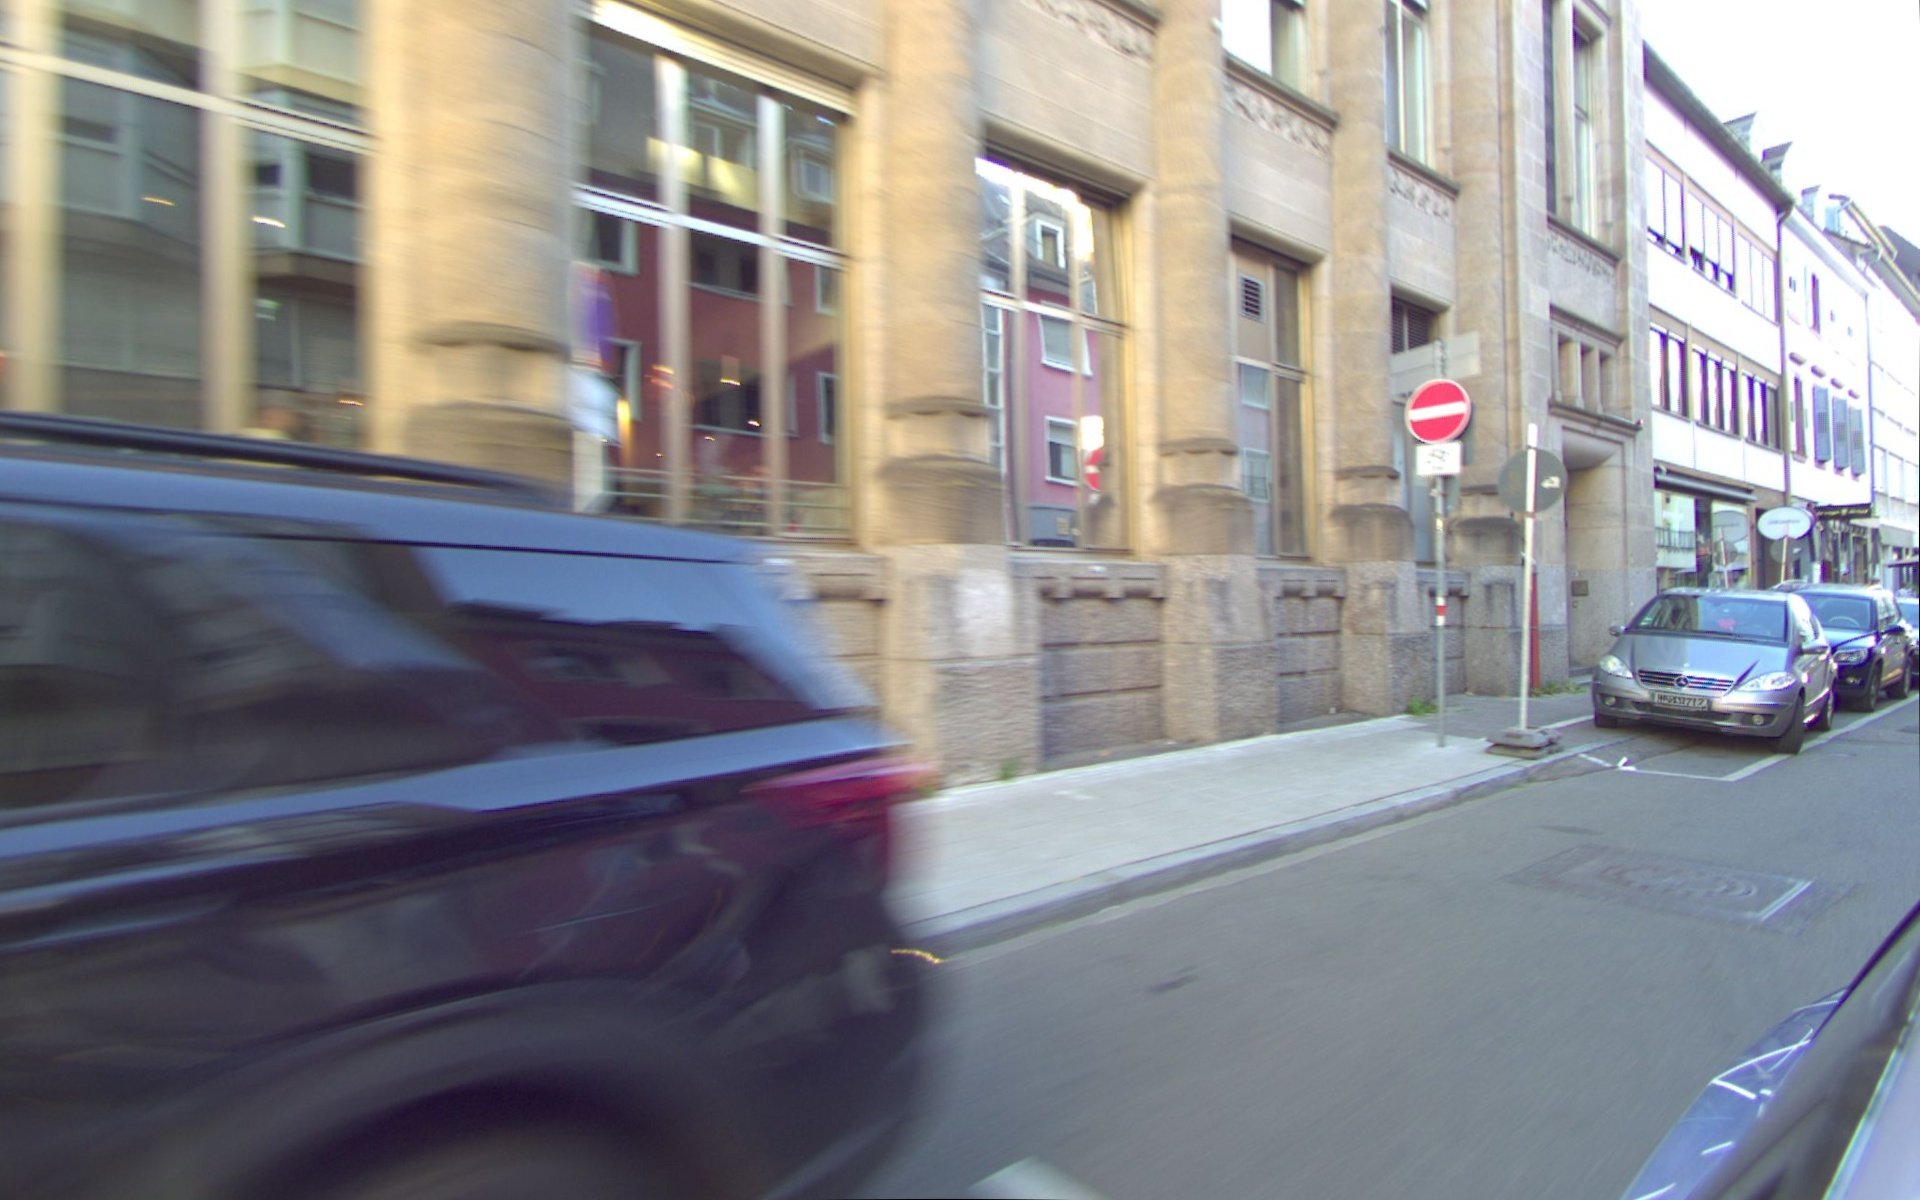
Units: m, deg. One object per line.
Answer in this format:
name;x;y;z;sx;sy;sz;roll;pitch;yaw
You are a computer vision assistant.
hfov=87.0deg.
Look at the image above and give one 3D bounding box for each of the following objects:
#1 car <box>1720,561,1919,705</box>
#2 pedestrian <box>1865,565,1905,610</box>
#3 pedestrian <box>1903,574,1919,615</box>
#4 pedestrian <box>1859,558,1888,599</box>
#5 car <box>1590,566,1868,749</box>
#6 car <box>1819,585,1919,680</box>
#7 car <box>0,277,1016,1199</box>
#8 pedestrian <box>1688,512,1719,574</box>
car;12.818;0.416;14.796;4.163;1.830;1.674;-1;-2;-39
pedestrian;26.240;-0.351;28.705;0.634;1.258;0.736;-1;0;-39
pedestrian;29.929;-0.192;31.472;0.634;1.259;0.736;-1;-1;-38
pedestrian;28.574;-0.672;31.645;0.599;1.258;0.566;-1;0;-40
car;8.682;0.512;11.311;3.932;1.687;1.775;-1;0;-42
car;17.075;0.500;18.147;4.902;1.536;1.693;-1;-1;-40
car;-2.377;0.603;1.131;4.848;1.806;1.996;-1;-1;-41
pedestrian;16.849;-1.292;22.924;0.417;1.367;0.436;-1;-1;-42
